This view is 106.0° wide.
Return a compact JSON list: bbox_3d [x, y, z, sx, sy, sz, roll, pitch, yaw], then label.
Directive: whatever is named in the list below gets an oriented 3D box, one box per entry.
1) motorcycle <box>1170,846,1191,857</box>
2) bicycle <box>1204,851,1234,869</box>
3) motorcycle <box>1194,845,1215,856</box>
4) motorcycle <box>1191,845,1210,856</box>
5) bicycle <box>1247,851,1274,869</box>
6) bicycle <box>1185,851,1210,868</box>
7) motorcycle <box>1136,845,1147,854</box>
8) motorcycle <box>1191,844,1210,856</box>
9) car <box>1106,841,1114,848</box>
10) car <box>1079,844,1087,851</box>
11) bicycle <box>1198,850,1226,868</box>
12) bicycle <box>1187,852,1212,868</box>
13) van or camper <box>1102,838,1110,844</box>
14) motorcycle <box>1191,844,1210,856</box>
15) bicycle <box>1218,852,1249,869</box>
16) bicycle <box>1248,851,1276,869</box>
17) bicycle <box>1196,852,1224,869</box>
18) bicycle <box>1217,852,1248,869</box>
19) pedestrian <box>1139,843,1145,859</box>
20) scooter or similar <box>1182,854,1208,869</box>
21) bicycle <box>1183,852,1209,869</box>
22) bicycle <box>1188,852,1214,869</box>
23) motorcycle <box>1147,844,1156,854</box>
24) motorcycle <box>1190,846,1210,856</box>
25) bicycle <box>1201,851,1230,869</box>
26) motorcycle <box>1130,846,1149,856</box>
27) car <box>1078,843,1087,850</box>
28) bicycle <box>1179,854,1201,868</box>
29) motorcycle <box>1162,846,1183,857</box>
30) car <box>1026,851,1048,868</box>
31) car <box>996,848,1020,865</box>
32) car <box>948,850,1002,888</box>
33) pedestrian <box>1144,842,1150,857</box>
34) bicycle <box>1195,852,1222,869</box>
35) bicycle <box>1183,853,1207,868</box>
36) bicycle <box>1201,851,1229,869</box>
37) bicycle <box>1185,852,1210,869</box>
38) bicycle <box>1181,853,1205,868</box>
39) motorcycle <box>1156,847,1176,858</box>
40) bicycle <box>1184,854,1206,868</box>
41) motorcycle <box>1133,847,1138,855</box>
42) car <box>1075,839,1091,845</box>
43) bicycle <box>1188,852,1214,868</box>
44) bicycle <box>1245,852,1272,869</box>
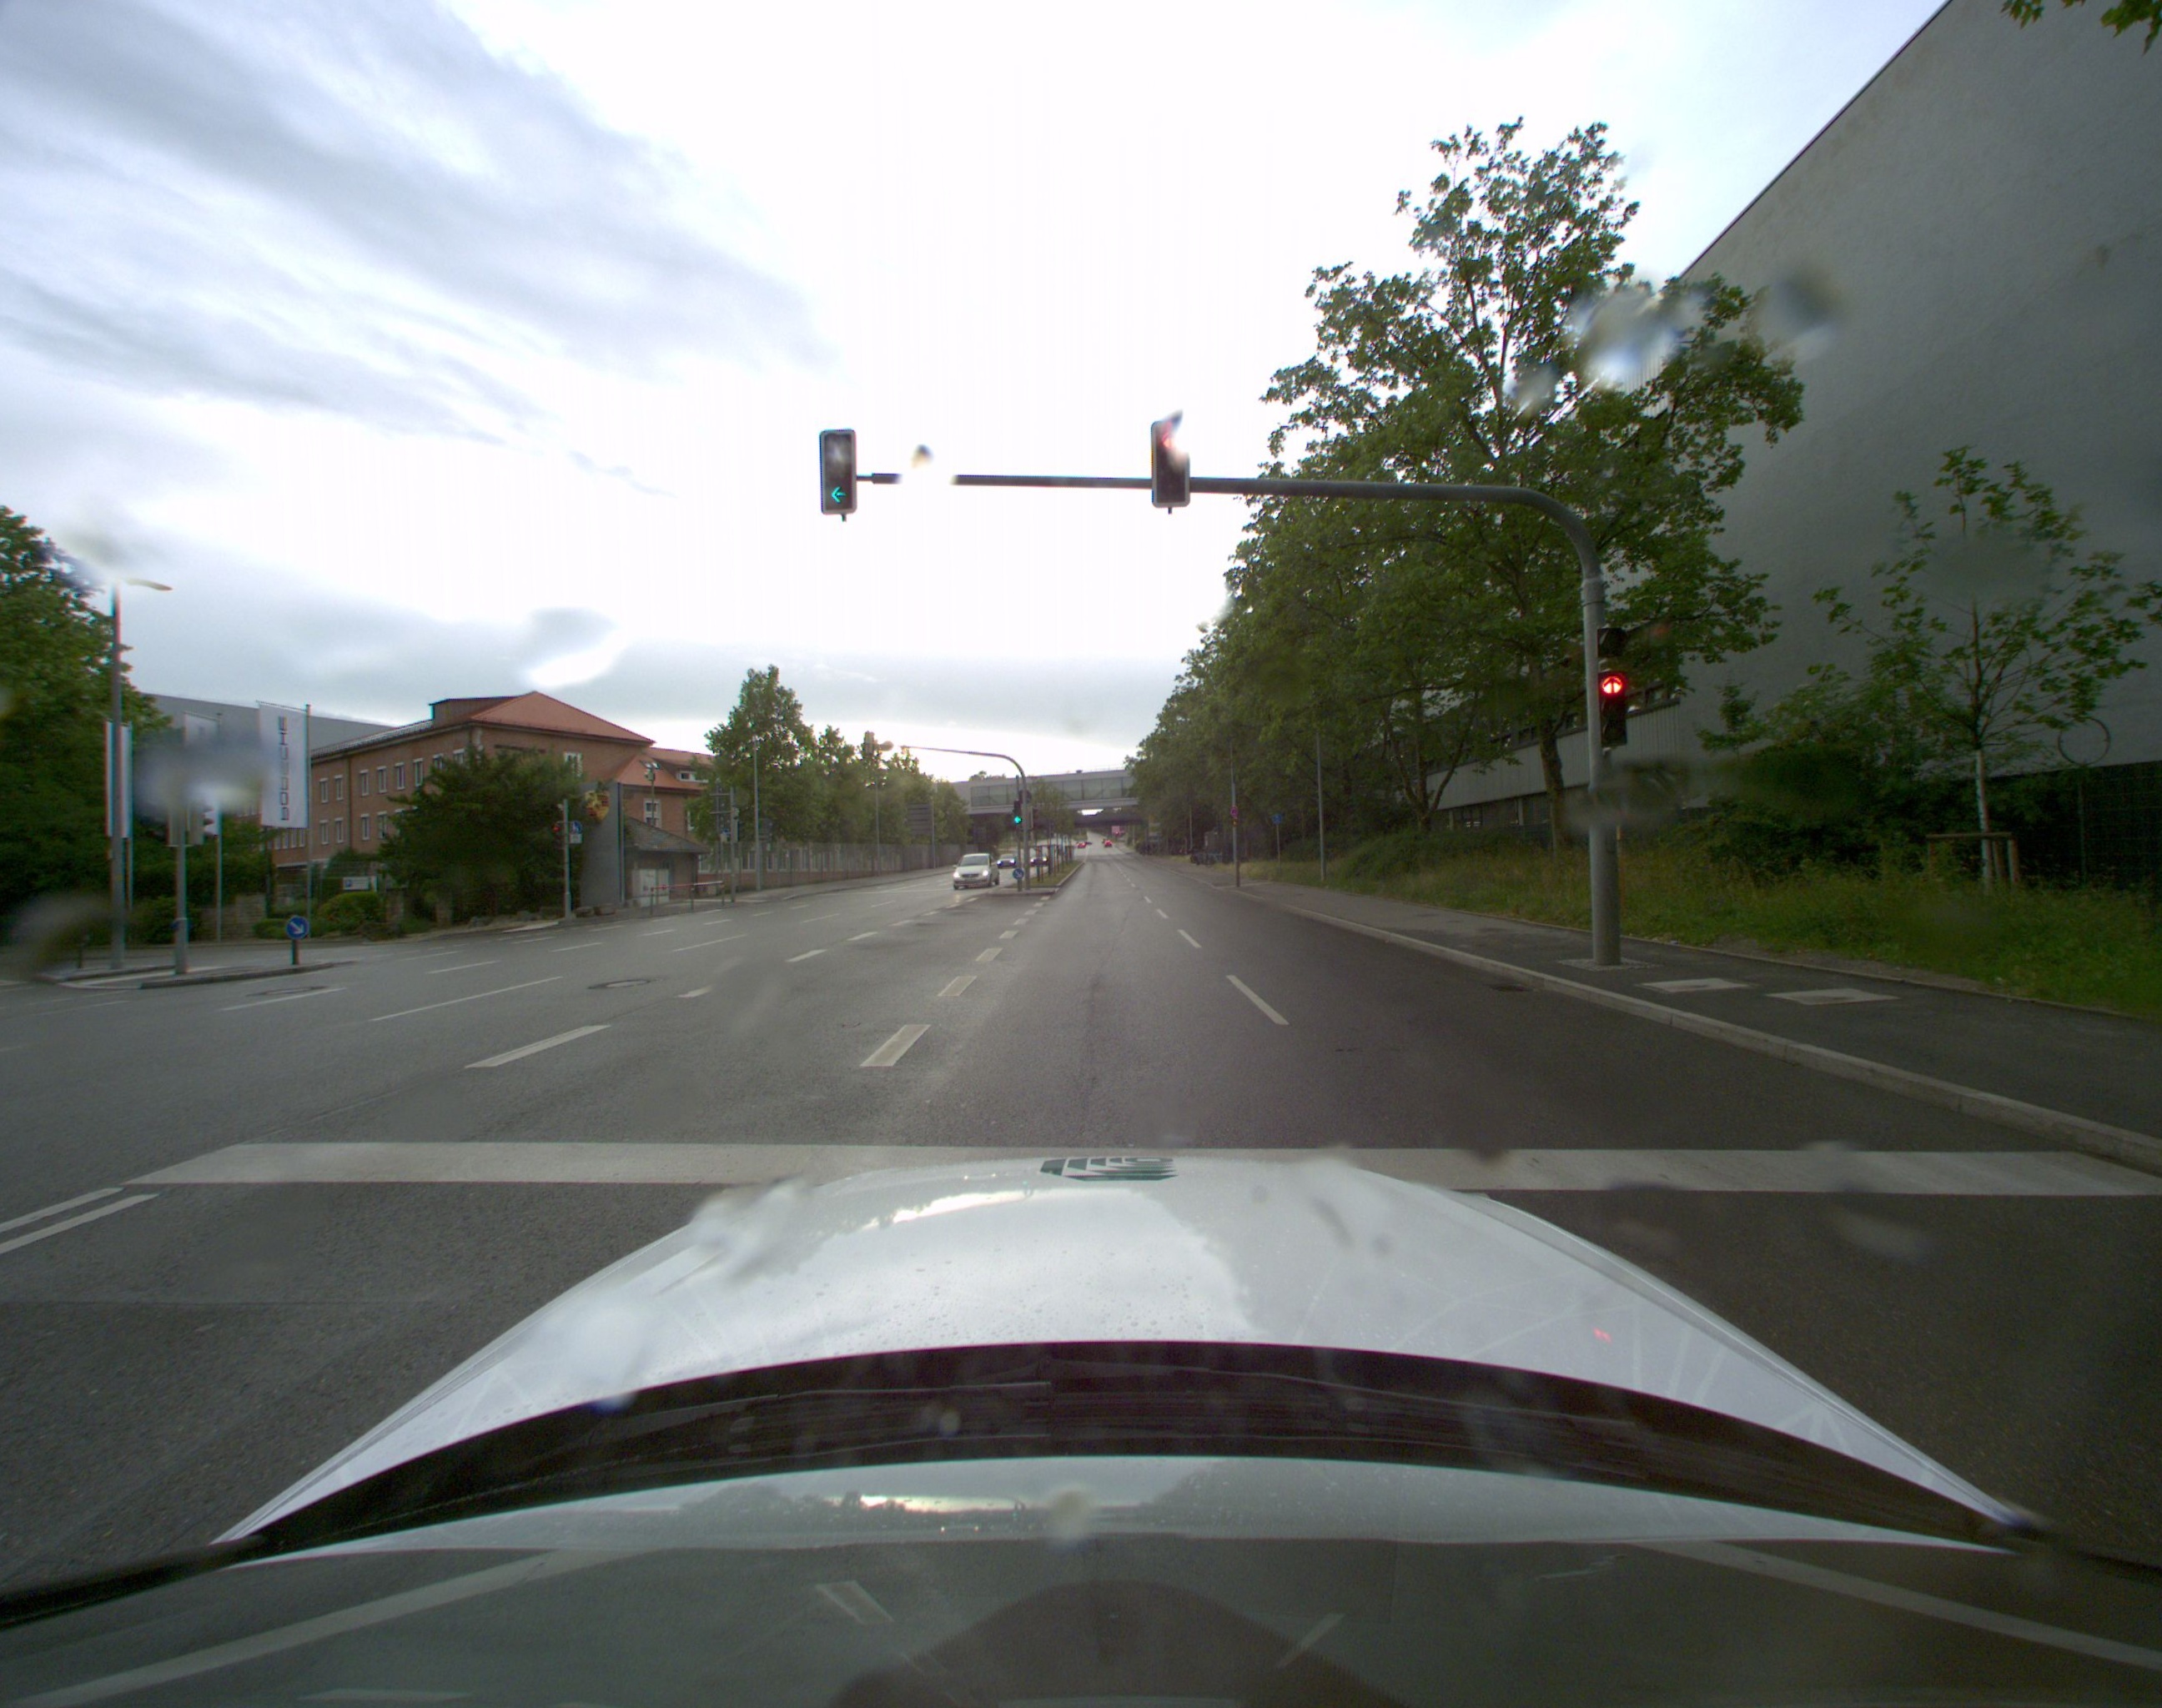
[{"bbox_3d":[11.826,-0.296,96.732,2.354,1.202,0.724,-3,0,9],"label":"motorcycle"},{"bbox_3d":[9.469,0.392,55.814,1.982,1.216,0.541,0,-1,2],"label":"bicycle"},{"bbox_3d":[14.968,-0.413,98.740,2.354,1.202,0.724,-3,0,9],"label":"motorcycle"},{"bbox_3d":[14.835,-0.426,101.092,2.354,1.202,0.724,-3,0,9],"label":"motorcycle"},{"bbox_3d":[13.744,0.483,62.437,1.982,1.328,0.576,0,-1,2],"label":"bicycle"},{"bbox_3d":[9.619,0.471,67.492,1.982,1.430,0.723,0,-1,2],"label":"bicycle"},{"bbox_3d":[9.269,-0.724,125.371,0.792,1.311,2.363,-3,0,-16],"label":"motorcycle"},{"bbox_3d":[15.710,-0.515,106.869,2.354,1.476,0.724,-3,0,9],"label":"motorcycle"},{"bbox_3d":[7.191,-2.303,203.140,1.868,1.497,4.070,0,-1,2],"label":"car"},{"bbox_3d":[0.624,-1.771,212.464,1.877,1.762,3.970,0,-1,2],"label":"car"},{"bbox_3d":[9.687,0.382,60.079,1.982,1.340,0.541,0,-1,2],"label":"bicycle"},{"bbox_3d":[9.947,0.537,68.338,1.982,1.328,0.576,0,-1,2],"label":"bicycle"},{"bbox_3d":[7.706,-4.202,254.844,1.784,1.813,3.781,0,1,14],"label":"van or camper"},{"bbox_3d":[15.854,-0.539,108.102,2.354,1.476,0.724,-3,0,9],"label":"motorcycle"},{"bbox_3d":[10.083,0.425,53.770,1.982,1.094,0.541,0,-1,2],"label":"bicycle"},{"bbox_3d":[13.722,0.472,61.772,1.982,1.328,0.576,0,-1,2],"label":"bicycle"},{"bbox_3d":[9.614,0.459,60.772,1.982,1.242,0.541,0,-1,2],"label":"bicycle"},{"bbox_3d":[10.102,0.434,54.338,1.982,1.094,0.541,0,-1,2],"label":"bicycle"},{"bbox_3d":[8.063,-0.406,107.497,0.619,2.013,0.606,-3,0,2],"label":"pedestrian"},{"bbox_3d":[8.952,0.577,64.010,1.982,1.138,0.541,0,-1,2],"label":"scooter or similar"},{"bbox_3d":[9.294,0.505,65.821,1.982,1.328,0.576,0,-1,2],"label":"bicycle"},{"bbox_3d":[9.590,0.494,65.004,1.982,1.328,0.576,0,-1,2],"label":"bicycle"},{"bbox_3d":[10.520,-0.732,121.590,0.789,1.311,2.371,-3,0,-7],"label":"motorcycle"},{"bbox_3d":[14.637,-0.356,100.023,2.354,1.202,0.724,-3,0,9],"label":"motorcycle"},{"bbox_3d":[9.606,0.419,58.002,1.982,1.233,0.541,0,-1,2],"label":"bicycle"},{"bbox_3d":[7.498,-0.350,104.592,2.354,1.202,0.724,-3,0,9],"label":"motorcycle"},{"bbox_3d":[0.357,-1.883,207.016,1.986,1.762,4.002,0,-1,2],"label":"car"},{"bbox_3d":[9.954,0.632,74.299,1.955,1.328,0.654,0,-1,2],"label":"bicycle"},{"bbox_3d":[10.647,-0.294,94.828,2.354,1.202,0.724,-3,0,9],"label":"motorcycle"},{"bbox_3d":[-4.431,0.565,82.083,1.870,1.624,3.780,-2,0,2],"label":"car"},{"bbox_3d":[-7.276,0.224,81.112,1.870,1.624,3.780,-2,0,2],"label":"car"},{"bbox_3d":[-4.993,0.688,38.867,1.870,1.624,3.780,-2,0,2],"label":"car"},{"bbox_3d":[8.746,-0.622,107.482,0.619,2.013,0.606,-3,0,2],"label":"pedestrian"},{"bbox_3d":[9.641,0.474,61.721,1.982,1.242,0.541,0,-1,2],"label":"bicycle"},{"bbox_3d":[9.823,0.568,70.290,1.953,1.328,0.576,0,-1,2],"label":"bicycle"},{"bbox_3d":[9.645,0.426,58.726,1.982,1.242,0.541,0,-1,2],"label":"bicycle"},{"bbox_3d":[9.584,0.522,66.758,1.982,1.328,0.576,0,-1,2],"label":"bicycle"},{"bbox_3d":[9.760,0.578,70.982,1.955,1.328,0.654,0,-1,2],"label":"bicycle"},{"bbox_3d":[10.599,-0.224,101.484,2.354,1.202,0.724,-3,0,9],"label":"motorcycle"},{"bbox_3d":[10.618,0.660,75.787,1.955,1.328,0.654,0,-1,2],"label":"bicycle"},{"bbox_3d":[9.677,-0.535,144.648,0.787,1.533,2.376,-3,0,0],"label":"motorcycle"},{"bbox_3d":[0.637,-3.435,236.432,4.491,1.762,1.906,0,-1,3],"label":"car"},{"bbox_3d":[9.289,0.493,63.105,1.982,1.242,0.541,0,-1,2],"label":"bicycle"},{"bbox_3d":[13.784,0.495,63.183,1.982,1.328,0.576,0,-1,2],"label":"bicycle"}]
